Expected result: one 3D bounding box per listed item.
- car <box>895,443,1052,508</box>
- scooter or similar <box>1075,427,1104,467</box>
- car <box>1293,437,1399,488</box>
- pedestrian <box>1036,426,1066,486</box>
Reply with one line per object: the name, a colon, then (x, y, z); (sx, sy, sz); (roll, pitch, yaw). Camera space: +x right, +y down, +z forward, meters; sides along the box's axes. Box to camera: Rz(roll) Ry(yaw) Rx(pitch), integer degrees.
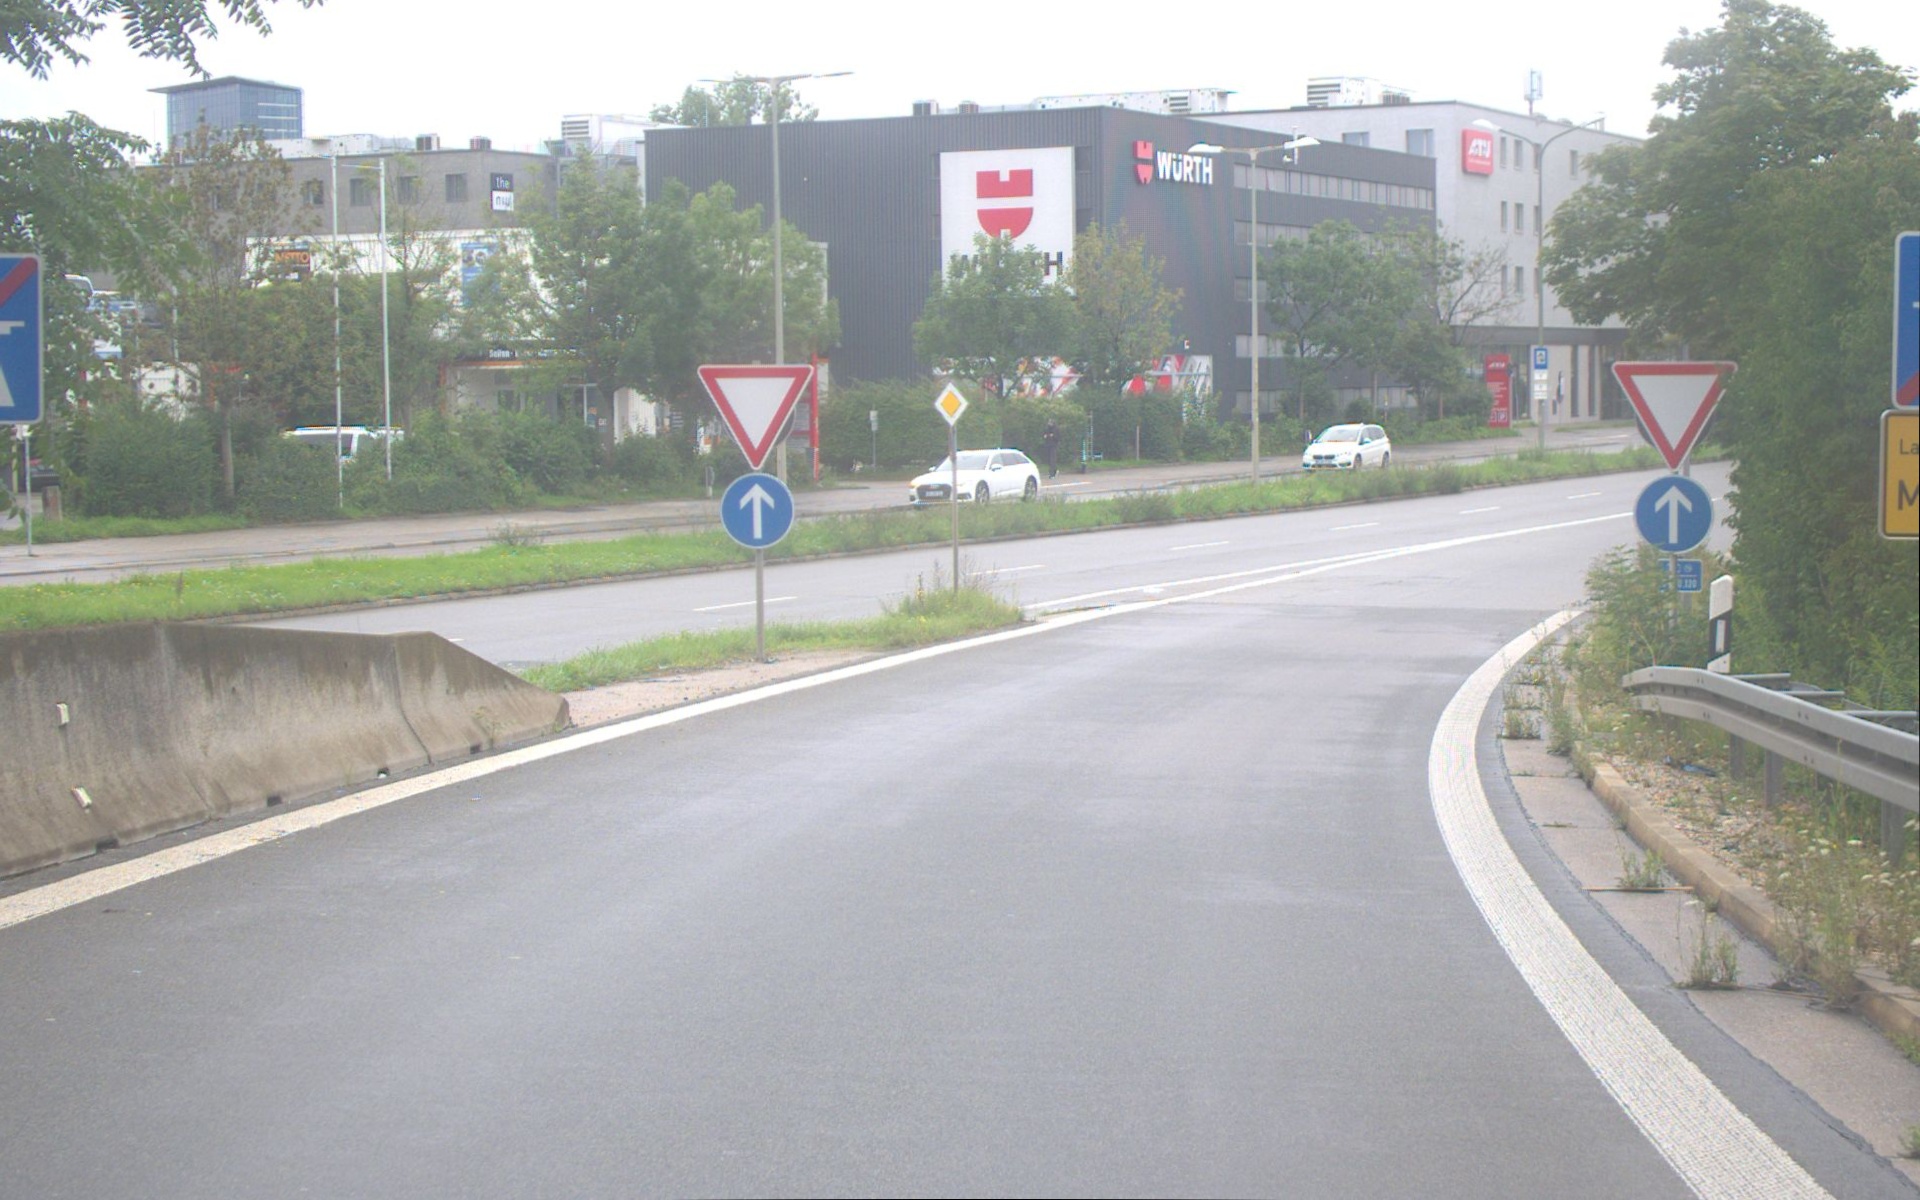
car: (0.394, -3.241, 88.883); (1.996, 1.566, 5.112); (1, 3, 26)
scooter or similar: (4.157, -4.903, 110.188); (0.446, 1.223, 1.386); (1, 4, 25)
car: (12.731, -4.539, 113.120); (1.996, 1.566, 4.568); (1, 3, 26)
pedestrian: (2.806, -4.474, 106.460); (0.623, 1.823, 0.816); (1, 4, 27)
